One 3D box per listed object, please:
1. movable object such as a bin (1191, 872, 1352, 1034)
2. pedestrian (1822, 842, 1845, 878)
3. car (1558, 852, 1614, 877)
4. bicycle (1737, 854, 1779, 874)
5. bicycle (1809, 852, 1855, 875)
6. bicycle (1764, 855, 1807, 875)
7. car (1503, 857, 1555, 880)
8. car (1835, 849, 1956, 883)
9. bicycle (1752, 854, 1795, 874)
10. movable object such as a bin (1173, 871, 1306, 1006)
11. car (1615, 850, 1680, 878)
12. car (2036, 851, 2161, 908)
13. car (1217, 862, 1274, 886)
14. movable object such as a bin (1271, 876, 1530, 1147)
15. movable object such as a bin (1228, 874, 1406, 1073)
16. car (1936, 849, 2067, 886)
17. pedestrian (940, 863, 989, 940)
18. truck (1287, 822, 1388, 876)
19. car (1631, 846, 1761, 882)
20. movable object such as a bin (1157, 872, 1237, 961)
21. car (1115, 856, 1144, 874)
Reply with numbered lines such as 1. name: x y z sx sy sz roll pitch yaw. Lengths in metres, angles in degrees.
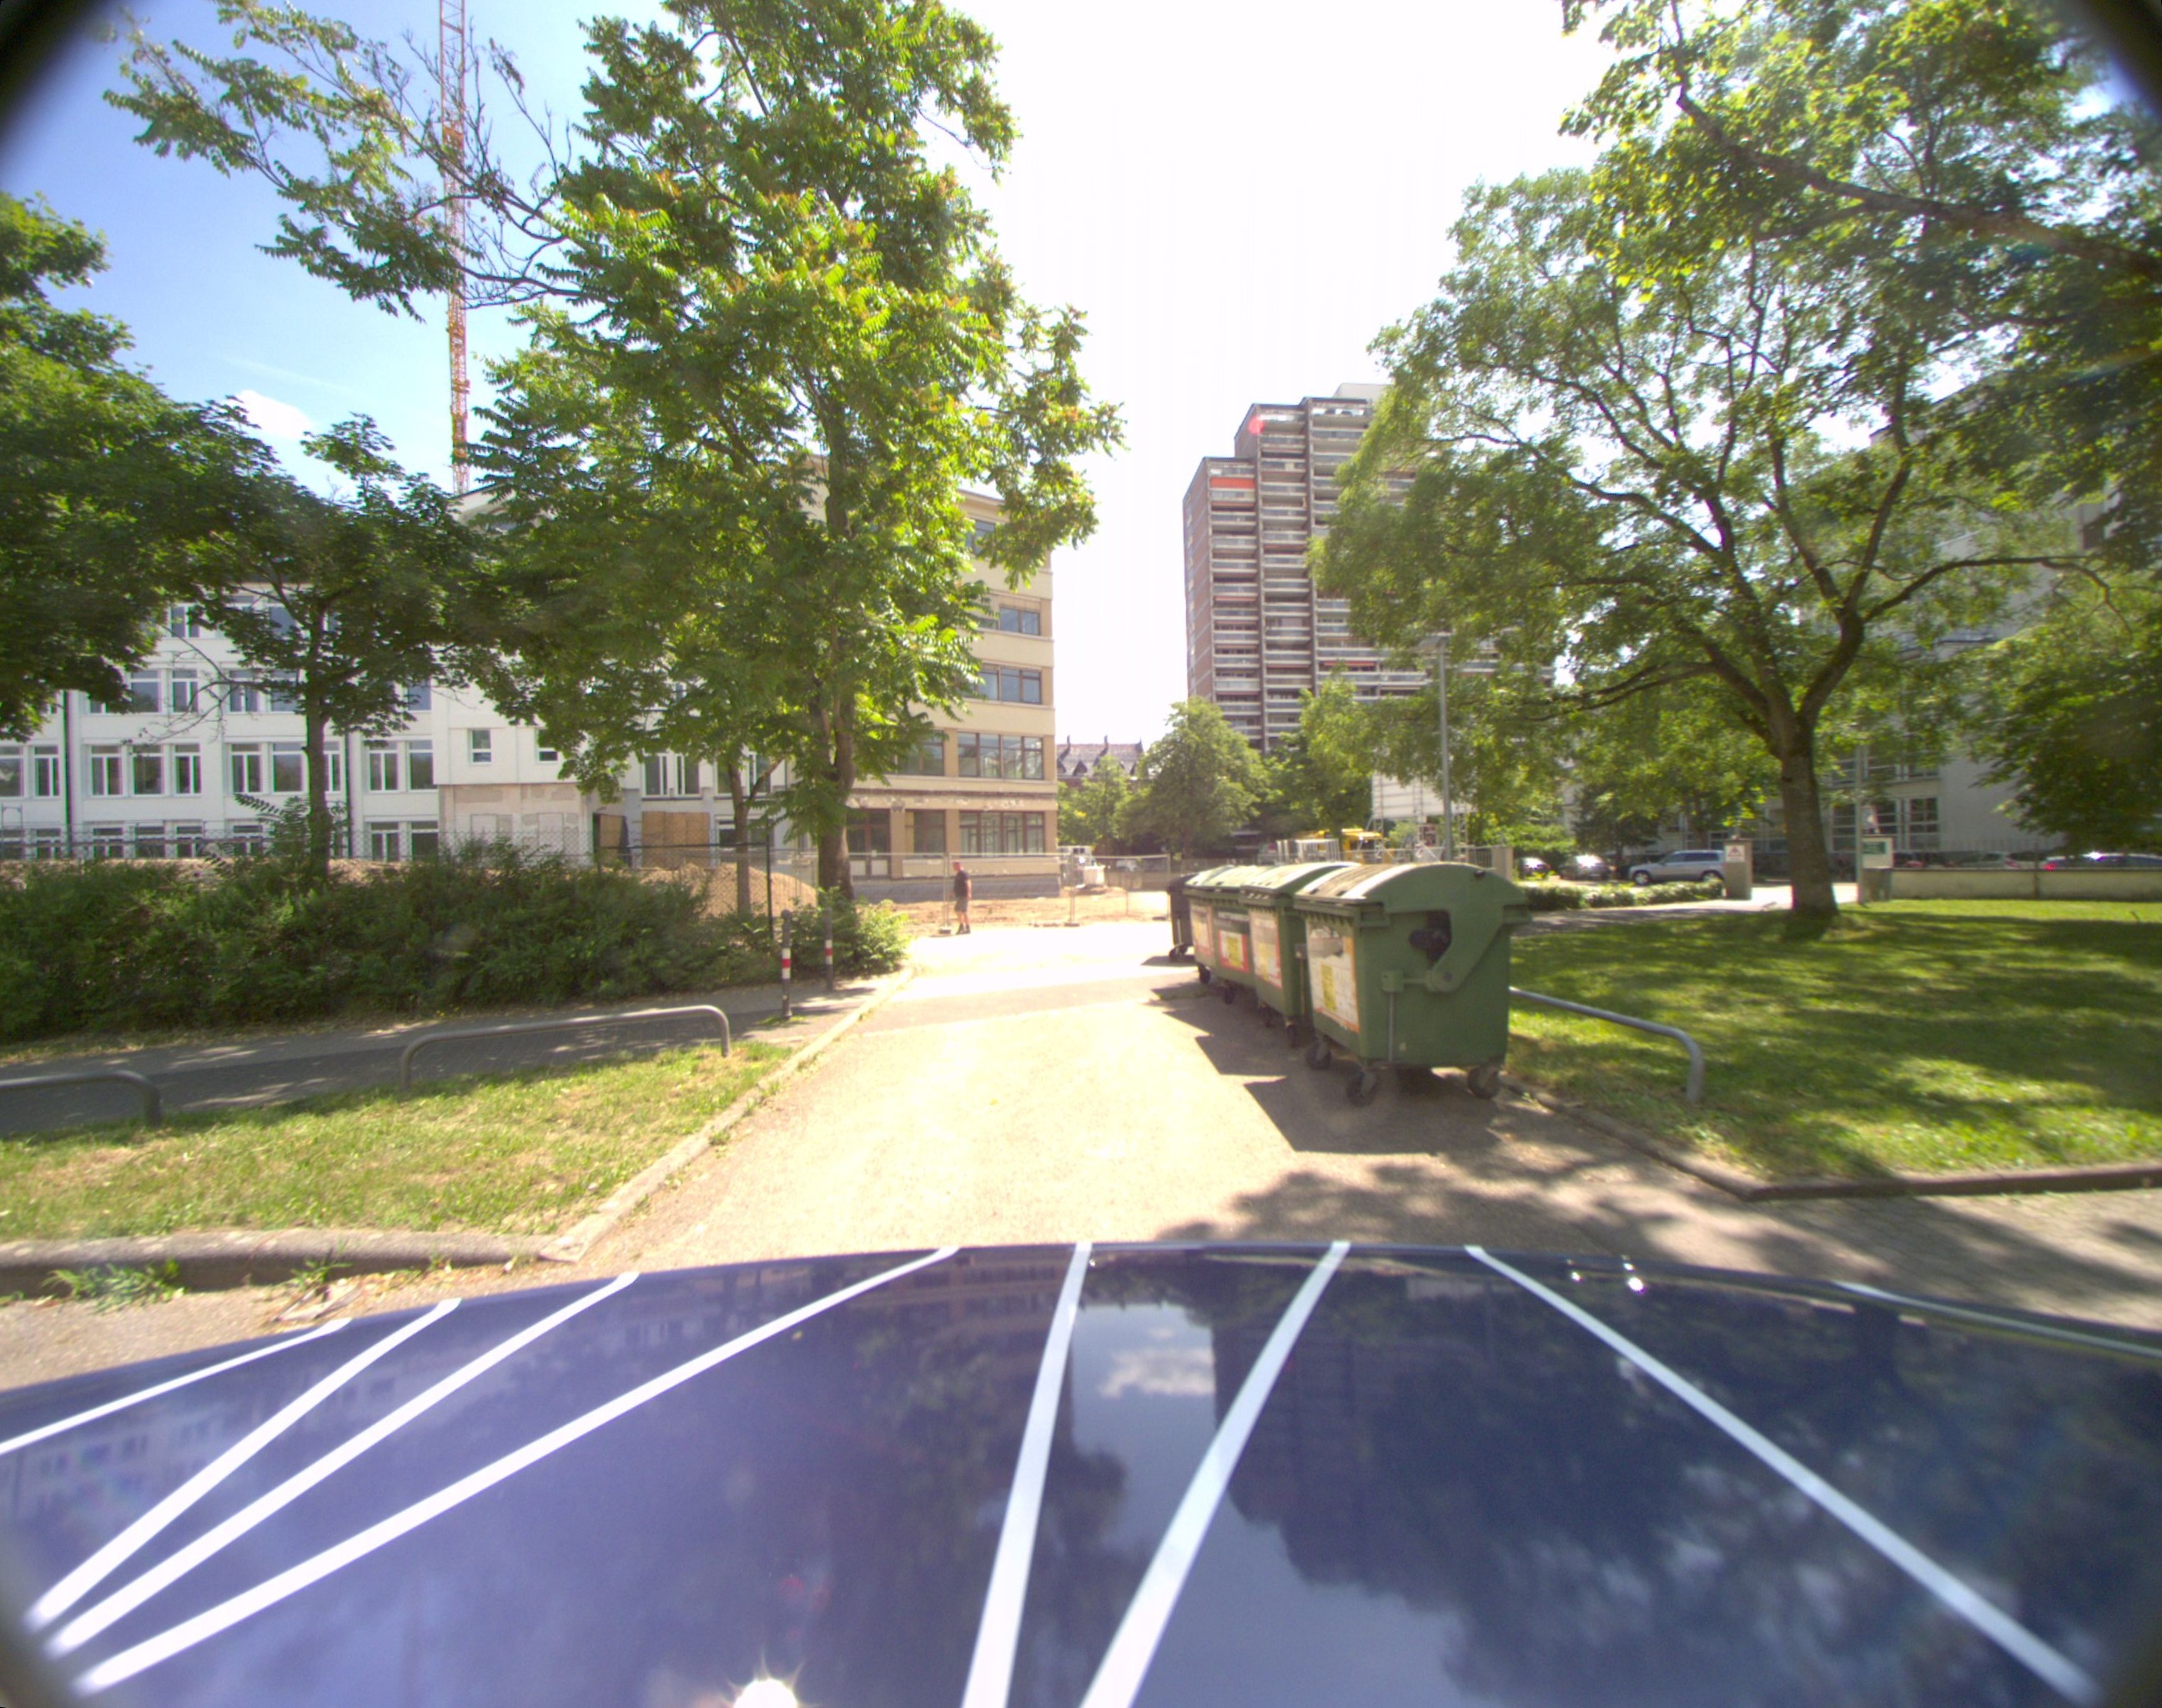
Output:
1. movable object such as a bin: 1.921 0.941 7.883 1.097 1.470 1.358 -1 0 -14
2. pedestrian: 38.807 0.307 39.188 0.716 1.863 0.576 -1 0 -18
3. car: 30.567 0.620 46.116 1.816 1.454 4.028 -2 0 18
4. bicycle: 40.199 0.601 45.128 1.942 1.124 0.568 -1 0 0
5. bicycle: 40.936 0.525 41.444 1.942 1.230 0.568 -1 0 0
6. bicycle: 40.192 0.625 43.351 1.942 1.124 0.568 -1 0 0
7. car: 28.258 0.875 48.062 1.627 1.365 4.026 -1 0 12
8. car: 37.745 0.520 35.381 1.751 1.461 4.202 -1 0 12
9. bicycle: 40.228 0.604 44.141 1.942 1.124 0.568 -1 0 0
10. movable object such as a bin: 1.873 0.958 9.227 1.207 1.470 1.324 -1 0 -7
11. car: 32.336 0.558 43.471 1.647 1.507 3.580 -1 -1 12
12. car: 28.158 0.683 19.965 1.592 1.448 3.716 2 -2 -35
13. car: 10.519 1.261 48.864 1.625 1.431 3.575 -1 0 -27
14. movable object such as a bin: 1.984 0.905 4.989 1.047 1.470 1.409 -1 0 -3
15. movable object such as a bin: 1.929 0.924 6.430 1.047 1.470 1.261 -1 0 -3
16. car: 39.422 0.558 32.666 1.751 1.453 3.543 -1 0 12
17. pedestrian: -2.853 1.135 18.585 0.969 1.809 0.869 -1 0 -24
18. truck: 20.677 -0.331 62.121 2.752 3.982 9.732 -2 0 -15
19. car: 29.208 0.474 36.214 2.003 1.597 4.389 -1 0 -34
20. movable object such as a bin: 1.981 1.021 12.822 1.113 1.386 1.162 -1 0 20
21. car: 5.676 1.225 88.150 1.995 2.002 4.007 -2 0 24
